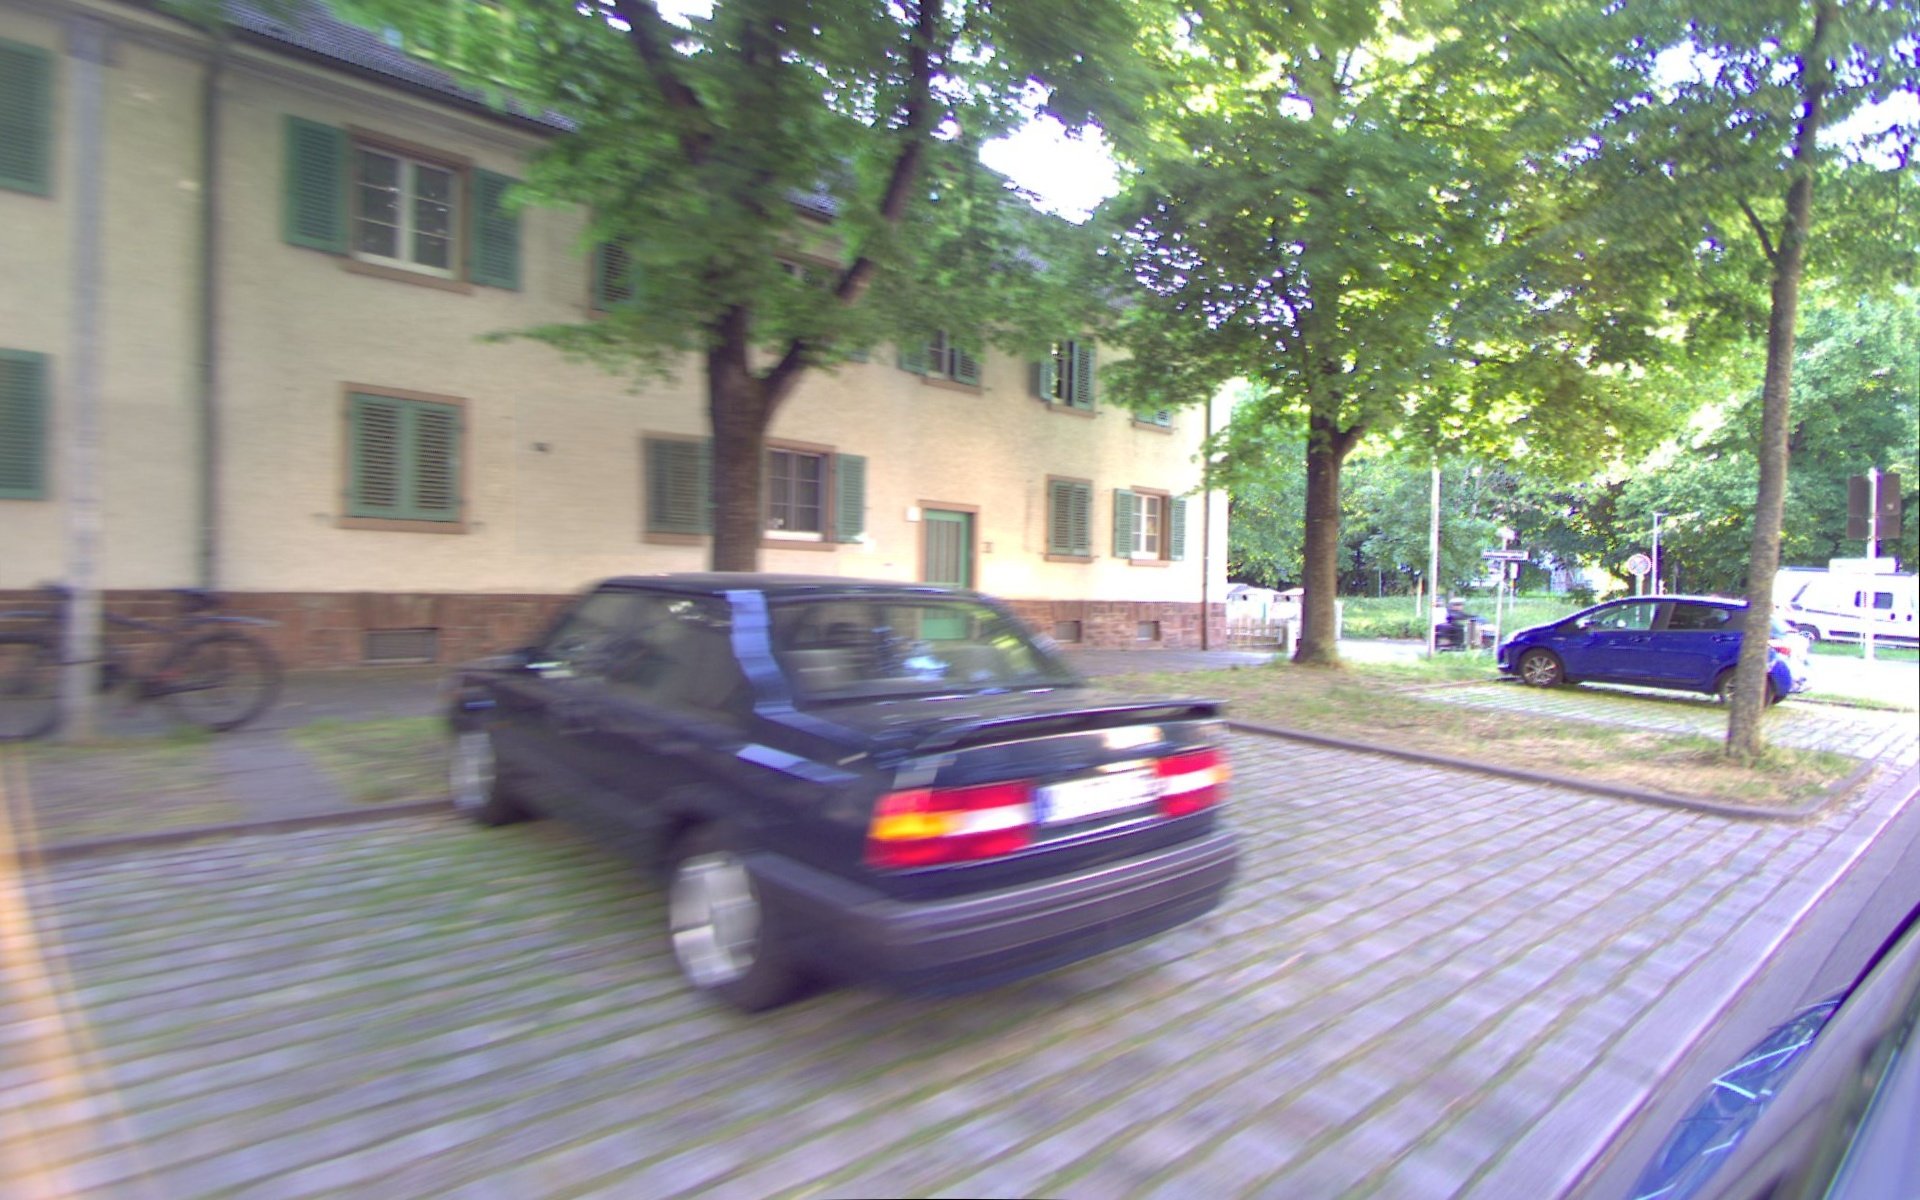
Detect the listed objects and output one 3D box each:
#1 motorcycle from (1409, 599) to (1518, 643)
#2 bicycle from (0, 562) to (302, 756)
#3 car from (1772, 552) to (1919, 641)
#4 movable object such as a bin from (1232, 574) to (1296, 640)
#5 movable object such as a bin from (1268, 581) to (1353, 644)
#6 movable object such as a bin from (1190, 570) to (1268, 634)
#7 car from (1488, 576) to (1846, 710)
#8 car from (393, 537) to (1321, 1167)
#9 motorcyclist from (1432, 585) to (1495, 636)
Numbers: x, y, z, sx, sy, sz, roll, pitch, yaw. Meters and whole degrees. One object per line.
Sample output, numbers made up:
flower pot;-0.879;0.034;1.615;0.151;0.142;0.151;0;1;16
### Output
motorcycle;13.777;0.550;27.753;0.967;1.116;2.519;1;1;-35
bicycle;-5.639;0.358;6.828;0.627;1.177;1.906;1;0;40
car;29.113;-0.136;31.571;2.201;2.646;5.621;-1;2;-42
movable object such as a bin;8.841;0.172;29.479;1.129;1.850;1.387;-1;1;-34
movable object such as a bin;9.765;0.320;28.244;1.561;1.678;1.640;-1;2;-34
movable object such as a bin;8.177;0.040;30.816;1.890;1.876;1.394;-1;2;-34
car;10.321;0.489;14.979;1.967;1.574;3.993;-1;3;-43
car;-1.040;0.485;4.891;1.910;1.459;4.902;-1;4;-43
motorcyclist;13.783;0.281;27.727;0.968;1.357;1.228;1;0;-35
